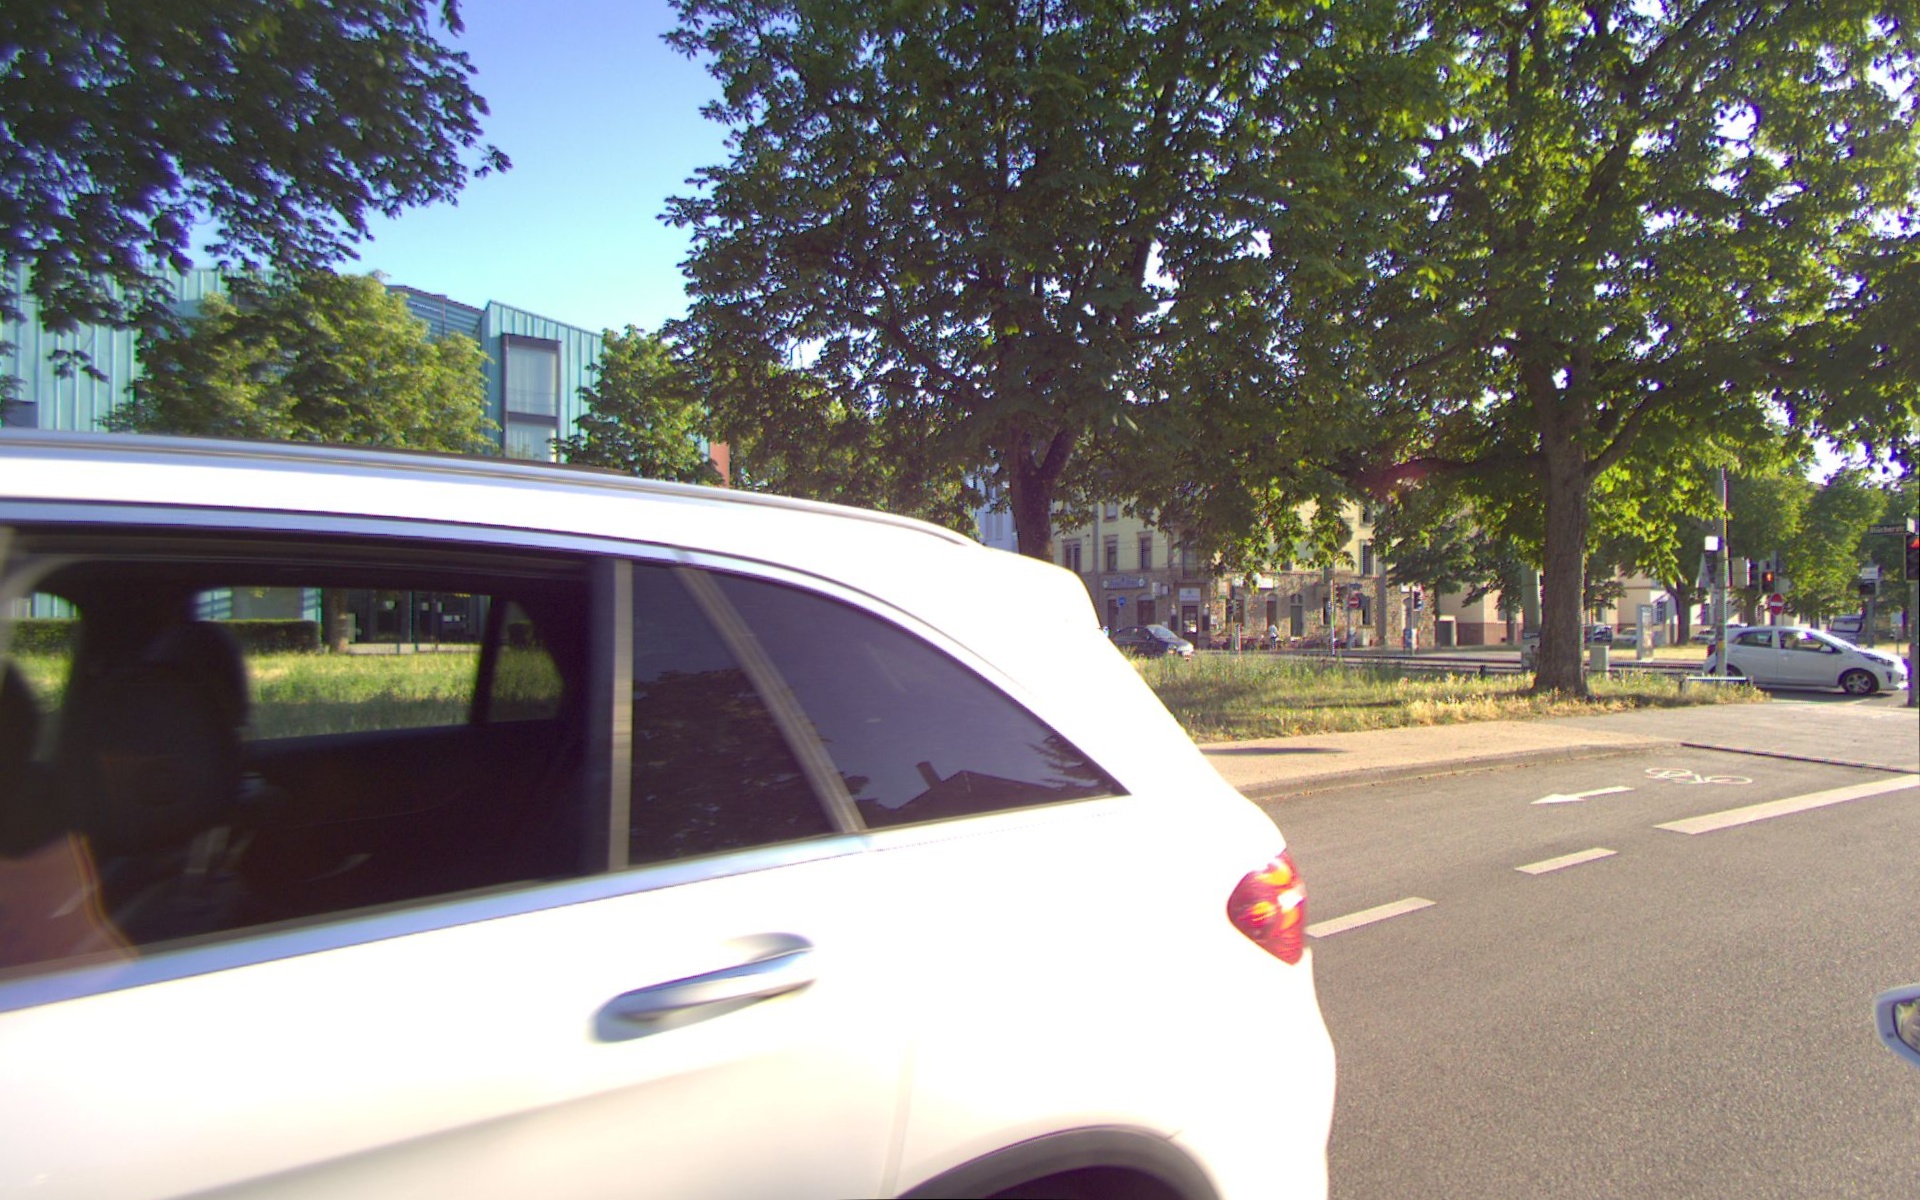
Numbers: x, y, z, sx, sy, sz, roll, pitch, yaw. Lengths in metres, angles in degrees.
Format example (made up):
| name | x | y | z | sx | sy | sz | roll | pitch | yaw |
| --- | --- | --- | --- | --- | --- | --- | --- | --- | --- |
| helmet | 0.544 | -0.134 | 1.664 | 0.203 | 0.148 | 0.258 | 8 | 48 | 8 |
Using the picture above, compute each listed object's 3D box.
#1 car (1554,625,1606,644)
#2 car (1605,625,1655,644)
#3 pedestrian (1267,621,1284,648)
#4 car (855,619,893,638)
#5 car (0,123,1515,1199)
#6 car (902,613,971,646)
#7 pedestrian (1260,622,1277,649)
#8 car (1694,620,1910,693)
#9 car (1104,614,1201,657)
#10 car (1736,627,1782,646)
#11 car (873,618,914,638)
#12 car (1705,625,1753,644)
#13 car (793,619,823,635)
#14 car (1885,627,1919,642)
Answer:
| name | x | y | z | sx | sy | sz | roll | pitch | yaw |
| --- | --- | --- | --- | --- | --- | --- | --- | --- | --- |
| car | 49.178 | 2.735 | 79.676 | 3.739 | 1.416 | 1.733 | -1 | 0 | -24 |
| car | 55.188 | 2.828 | 82.714 | 3.739 | 1.446 | 1.733 | -1 | 0 | -24 |
| pedestrian | 20.267 | 2.216 | 64.519 | 0.715 | 1.664 | 0.811 | 1 | -1 | -22 |
| car | -7.760 | 2.583 | 90.262 | 2.073 | 1.612 | 4.015 | 2 | -2 | -27 |
| car | -1.394 | 0.510 | 1.349 | 4.376 | 1.699 | 1.880 | 1 | 0 | -32 |
| car | -1.234 | 1.439 | 50.170 | 1.596 | 1.572 | 3.838 | 0 | 0 | -35 |
| pedestrian | 19.562 | 2.246 | 63.671 | 0.809 | 1.664 | 0.717 | 1 | -1 | -40 |
| car | 19.490 | 1.245 | 23.352 | 1.728 | 1.508 | 3.654 | 1 | -1 | -41 |
| car | 7.313 | 1.342 | 38.464 | 1.595 | 1.518 | 3.573 | 1 | 0 | -34 |
| car | 65.595 | 2.975 | 82.423 | 3.747 | 1.446 | 1.730 | 1 | 0 | -30 |
| car | -5.755 | 2.380 | 86.465 | 2.073 | 1.612 | 4.015 | 2 | -2 | -27 |
| car | 60.852 | 2.751 | 79.472 | 3.747 | 1.446 | 1.730 | 1 | -1 | -30 |
| car | -15.515 | 2.730 | 102.386 | 1.885 | 1.611 | 4.019 | 2 | -2 | -25 |
| car | 94.777 | 3.449 | 100.929 | 3.747 | 1.446 | 1.730 | 1 | 0 | -30 |
